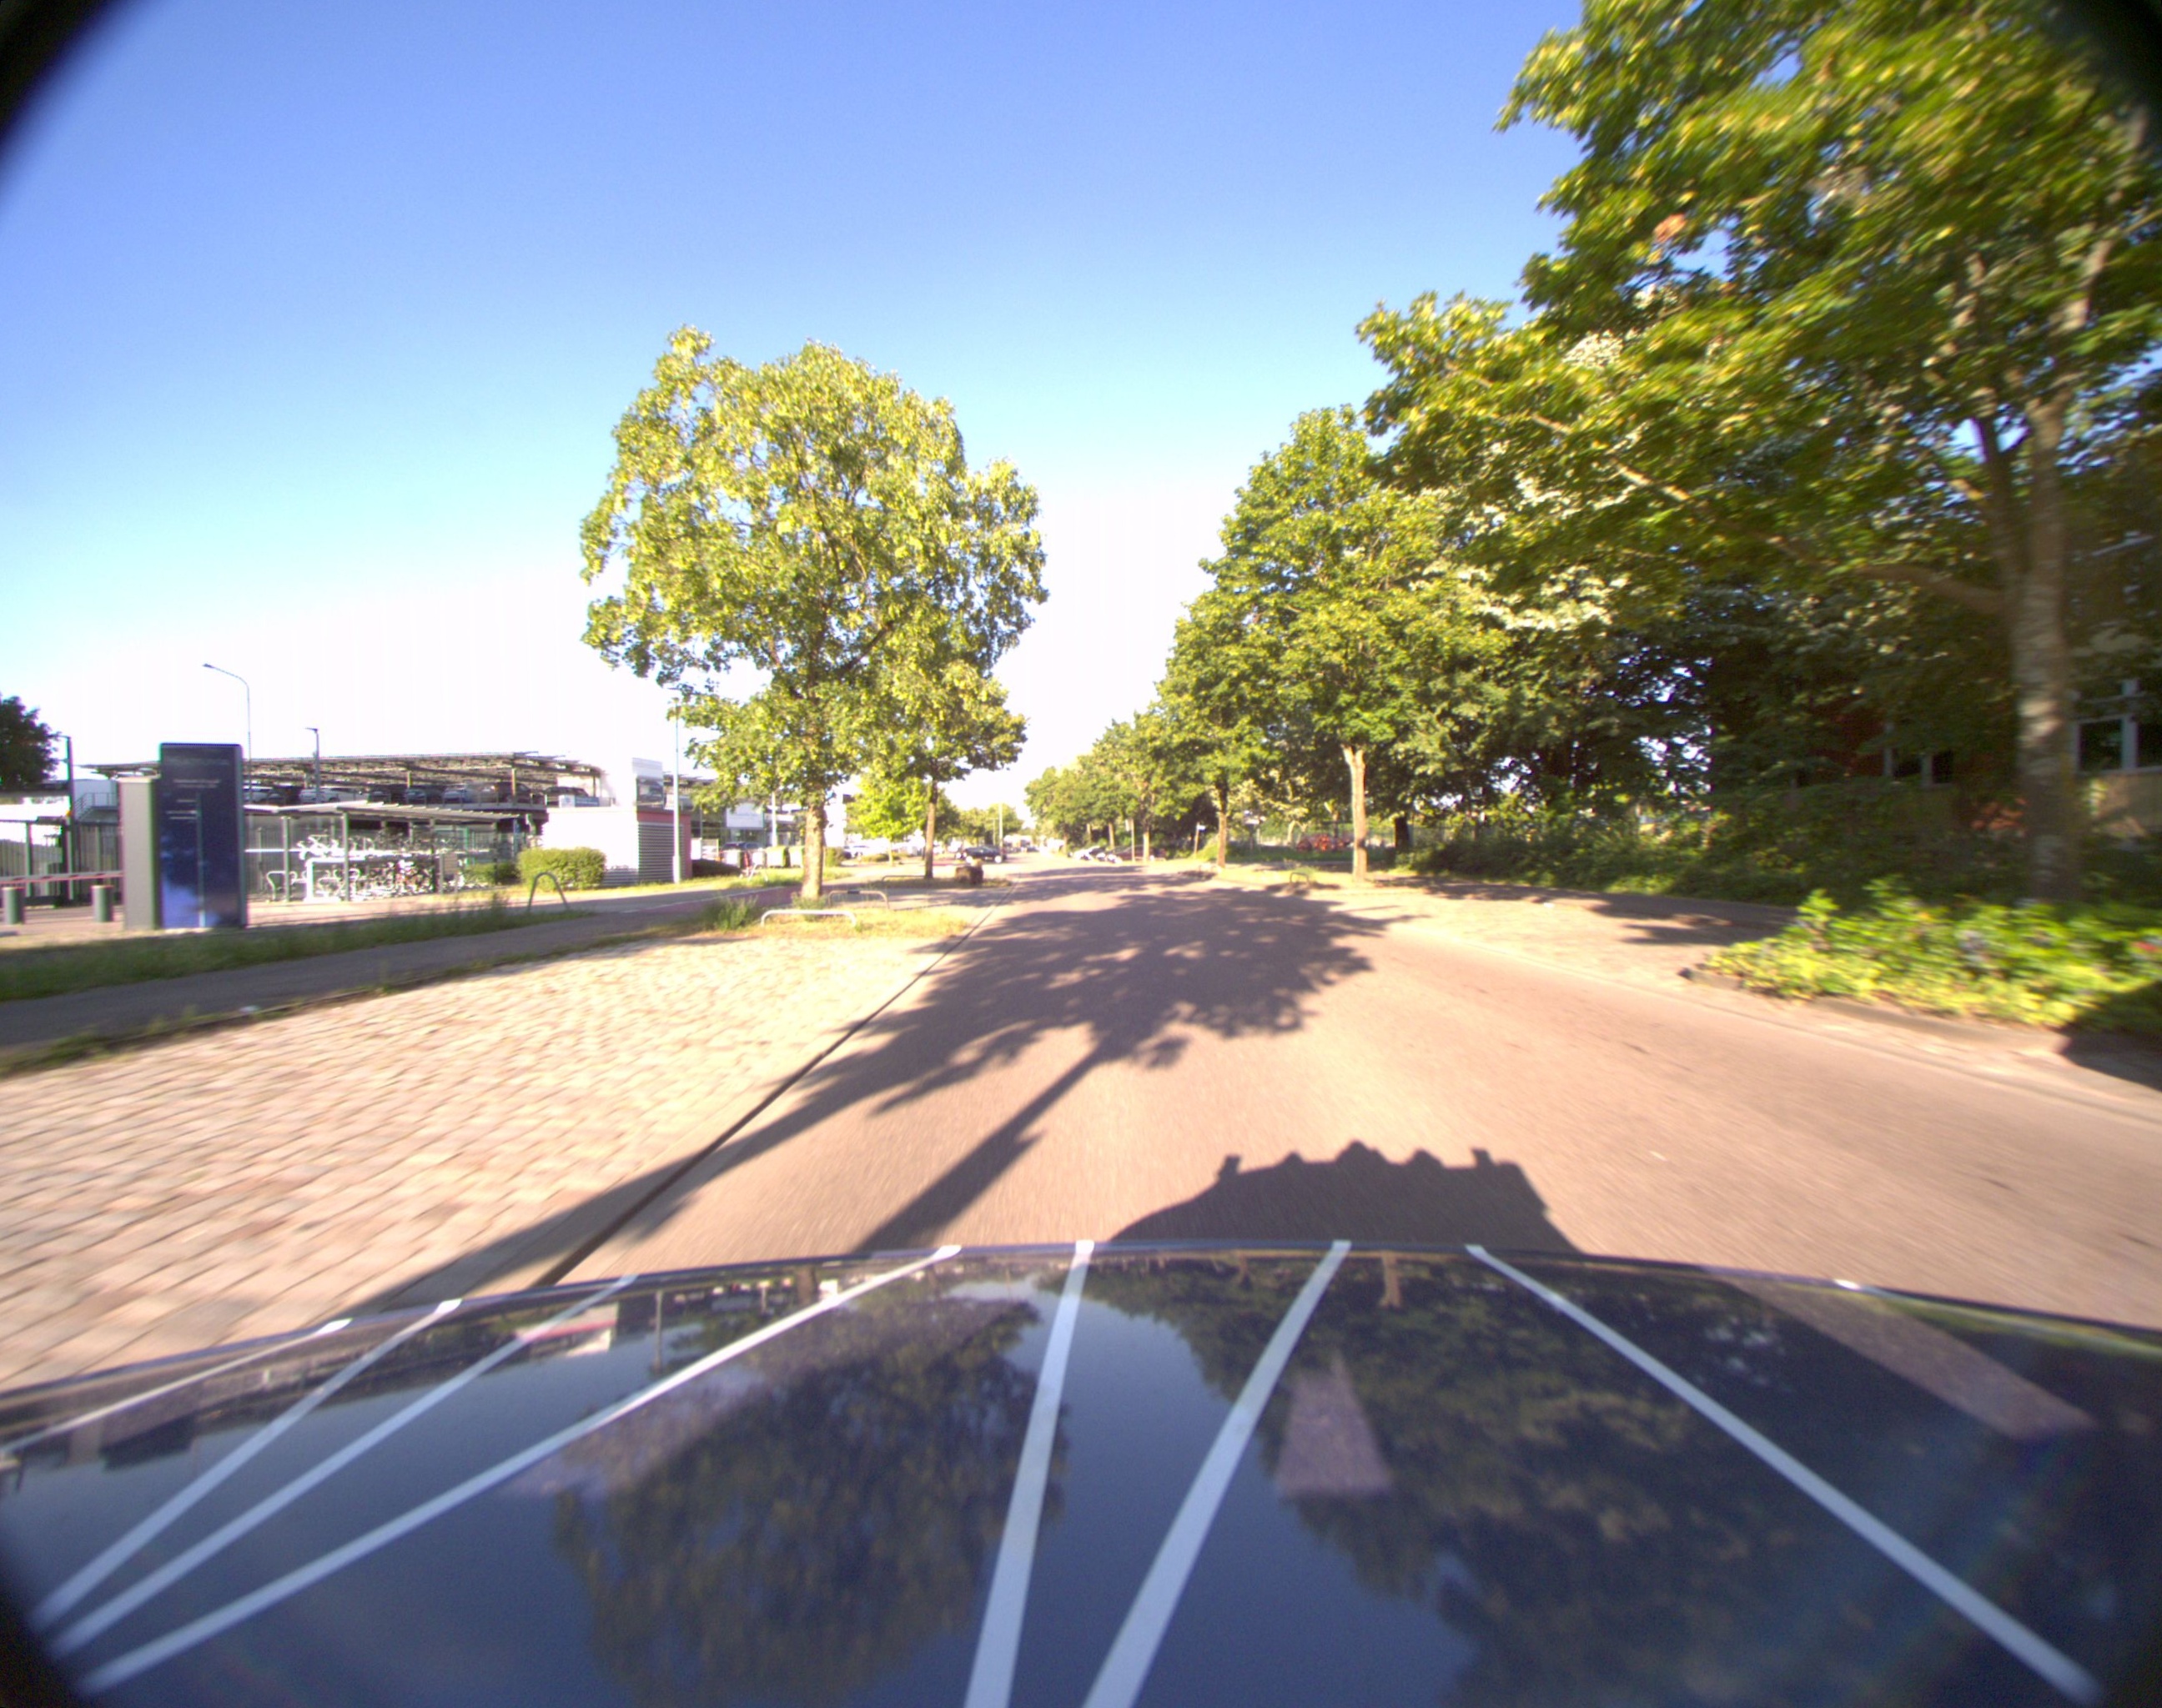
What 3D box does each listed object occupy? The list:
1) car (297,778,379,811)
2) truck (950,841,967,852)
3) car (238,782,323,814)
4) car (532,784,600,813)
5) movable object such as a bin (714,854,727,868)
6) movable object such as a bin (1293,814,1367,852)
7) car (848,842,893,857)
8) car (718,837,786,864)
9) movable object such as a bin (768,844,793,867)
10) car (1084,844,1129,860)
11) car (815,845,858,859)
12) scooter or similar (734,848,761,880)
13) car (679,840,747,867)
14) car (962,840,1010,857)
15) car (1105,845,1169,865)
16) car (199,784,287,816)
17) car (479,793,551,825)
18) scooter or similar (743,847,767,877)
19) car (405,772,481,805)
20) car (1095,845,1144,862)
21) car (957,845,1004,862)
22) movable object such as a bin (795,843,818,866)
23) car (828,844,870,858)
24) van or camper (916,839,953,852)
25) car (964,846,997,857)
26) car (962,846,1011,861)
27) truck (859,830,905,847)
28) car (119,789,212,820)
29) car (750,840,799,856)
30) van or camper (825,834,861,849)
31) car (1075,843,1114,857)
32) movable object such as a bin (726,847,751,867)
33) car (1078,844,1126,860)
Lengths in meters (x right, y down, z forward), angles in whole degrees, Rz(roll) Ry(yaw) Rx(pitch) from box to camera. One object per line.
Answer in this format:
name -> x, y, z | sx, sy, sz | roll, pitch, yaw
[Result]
car -> -57.453, -4.559, 58.883 | 1.998, 2.089, 4.202 | -3, 0, 4
truck -> -31.472, -1.940, 194.833 | 2.543, 2.704, 5.976 | 0, 0, 9
car -> -62.530, -4.314, 59.446 | 1.998, 2.089, 4.202 | -3, 0, 4
car -> -42.171, -4.531, 62.273 | 4.197, 2.089, 2.000 | -3, 0, 4
movable object such as a bin -> -23.129, 0.450, 48.748 | 0.506, 0.916, 0.604 | 0, 1, 2
movable object such as a bin -> 18.318, -1.494, 56.034 | 2.169, 2.649, 4.790 | -1, 1, -43
car -> -25.664, -0.569, 92.653 | 4.738, 1.680, 2.404 | 1, 1, -35
car -> -22.996, -0.261, 53.332 | 2.035, 1.817, 4.978 | 0, 1, 8
movable object such as a bin -> -19.122, 0.089, 48.360 | 1.213, 1.475, 1.037 | 0, 1, -1
car -> 2.741, -0.249, 81.597 | 4.494, 1.522, 1.998 | -2, 1, -8
car -> -25.806, -0.249, 80.147 | 4.775, 1.455, 2.004 | 1, 1, 38
scooter or similar -> -13.605, 0.399, 31.017 | 0.521, 1.265, 1.387 | 0, 1, -2
car -> -25.665, -0.031, 53.215 | 2.035, 1.817, 4.563 | 0, 1, 8
car -> -9.615, -0.550, 77.345 | 4.708, 1.741, 2.190 | 0, 1, -4
car -> 4.730, 0.041, 64.135 | 5.051, 1.454, 1.998 | -2, 1, -8
car -> -65.434, -4.173, 59.417 | 1.998, 2.089, 4.202 | -3, 0, 4
car -> -42.891, -3.386, 57.685 | 1.998, 2.089, 4.202 | -3, 0, 4
scooter or similar -> -13.920, 0.317, 32.454 | 0.521, 1.265, 1.200 | -1, 1, -2
car -> -48.733, -4.981, 58.136 | 1.998, 2.089, 4.202 | -3, 0, 4
car -> 3.719, -0.016, 74.058 | 4.494, 1.454, 1.998 | -2, 1, -8
car -> -9.732, -0.042, 73.907 | 4.495, 1.541, 2.032 | -1, 1, -6
movable object such as a bin -> -17.389, 0.027, 48.157 | 0.846, 1.408, 1.039 | -2, 0, 25
car -> -26.658, -0.384, 87.208 | 5.176, 1.562, 2.004 | 1, 1, 38
van or camper -> -33.920, -2.028, 175.624 | 7.991, 2.883, 2.947 | 0, 1, 23
car -> -14.649, -0.365, 110.646 | 4.606, 1.575, 1.998 | 1, 1, -11
car -> -8.900, -0.041, 71.460 | 4.496, 1.396, 2.032 | -1, 1, -8
truck -> -44.211, -3.387, 168.612 | 10.092, 3.623, 3.301 | 0, 1, 27
car -> -71.975, -3.857, 59.857 | 1.998, 2.089, 4.202 | -3, 0, 4
car -> -33.374, -0.643, 82.753 | 4.795, 1.764, 1.996 | 0, 1, -24
van or camper -> -54.623, -2.872, 174.464 | 8.120, 3.310, 2.418 | 0, 1, 19
car -> 1.589, -0.501, 89.278 | 4.300, 1.522, 1.998 | -1, 1, -7
movable object such as a bin -> -22.040, 0.209, 48.880 | 1.120, 1.260, 1.037 | 0, 1, -1
car -> 2.314, -0.234, 84.066 | 4.866, 1.522, 1.998 | -2, 1, -11
